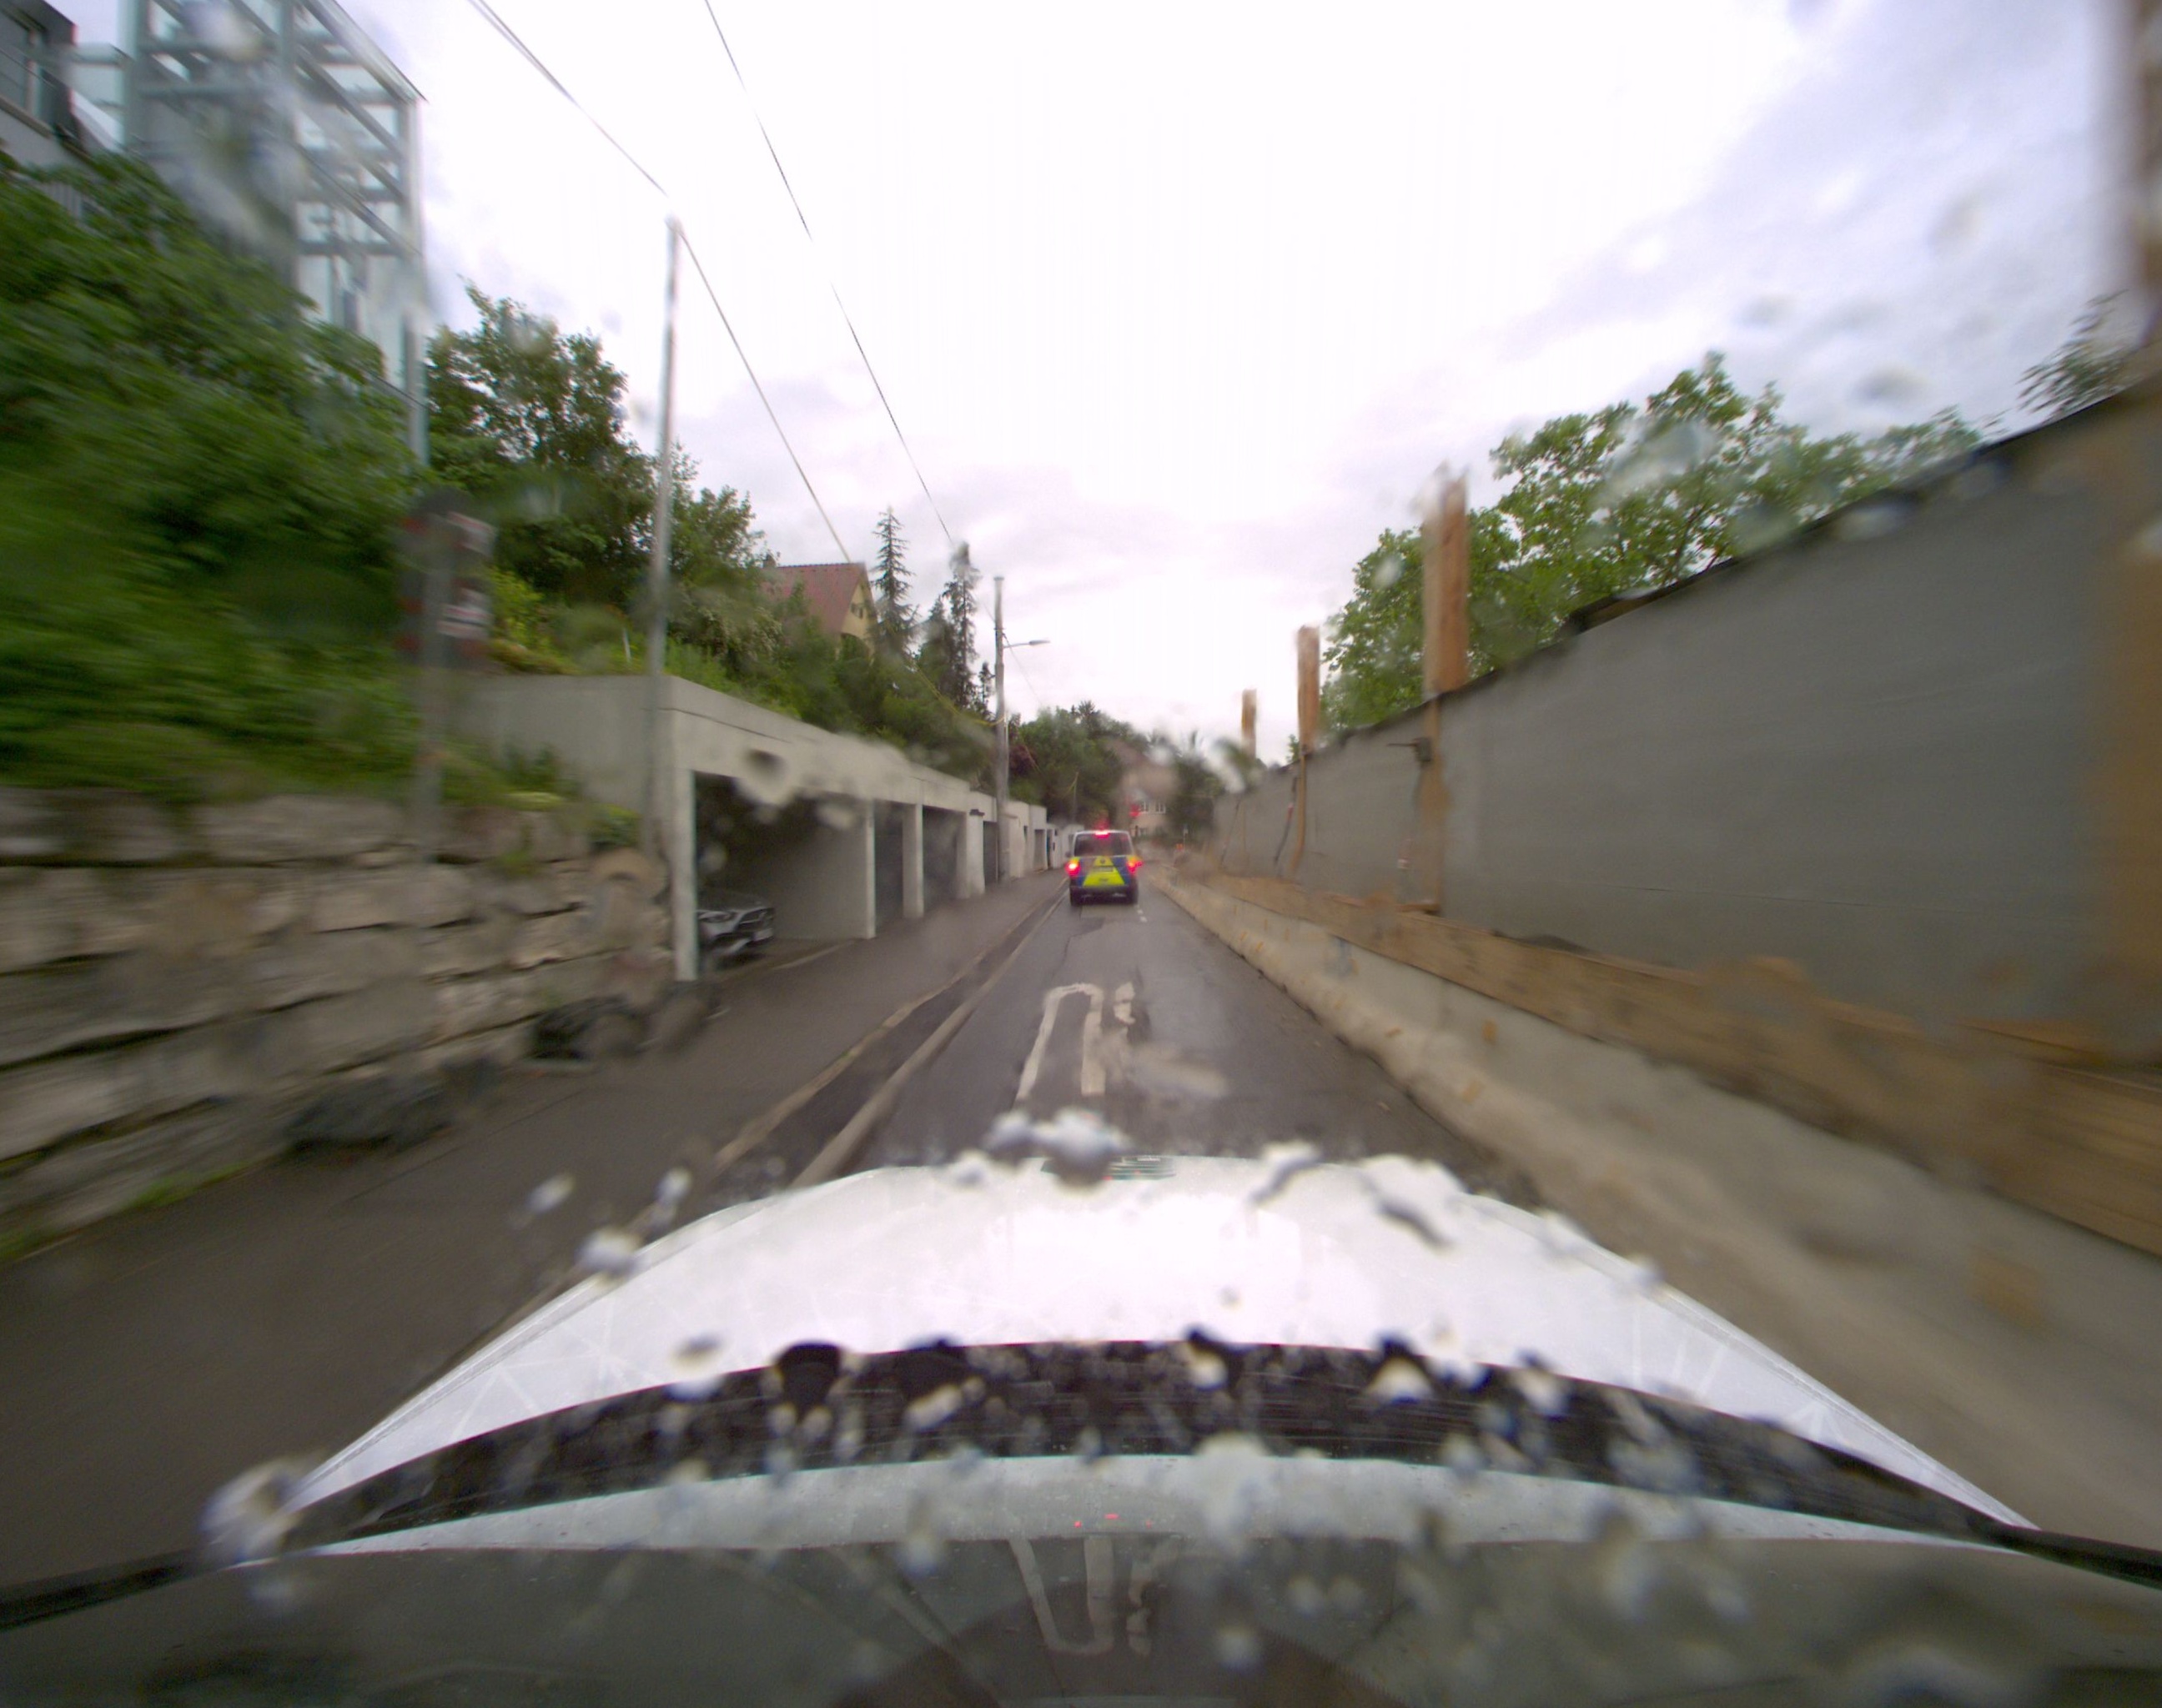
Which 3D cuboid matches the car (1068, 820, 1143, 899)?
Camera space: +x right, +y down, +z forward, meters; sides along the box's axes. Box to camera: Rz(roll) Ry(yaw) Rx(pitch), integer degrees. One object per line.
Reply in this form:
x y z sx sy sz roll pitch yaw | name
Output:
0.669 0.142 23.112 1.901 2.010 4.440 1 0 1 | car

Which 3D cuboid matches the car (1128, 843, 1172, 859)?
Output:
6.843 -0.252 80.337 3.949 1.517 1.739 1 0 32 | car

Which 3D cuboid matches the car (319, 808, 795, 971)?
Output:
-6.082 0.383 9.926 4.385 1.706 2.111 1 0 1 | car
